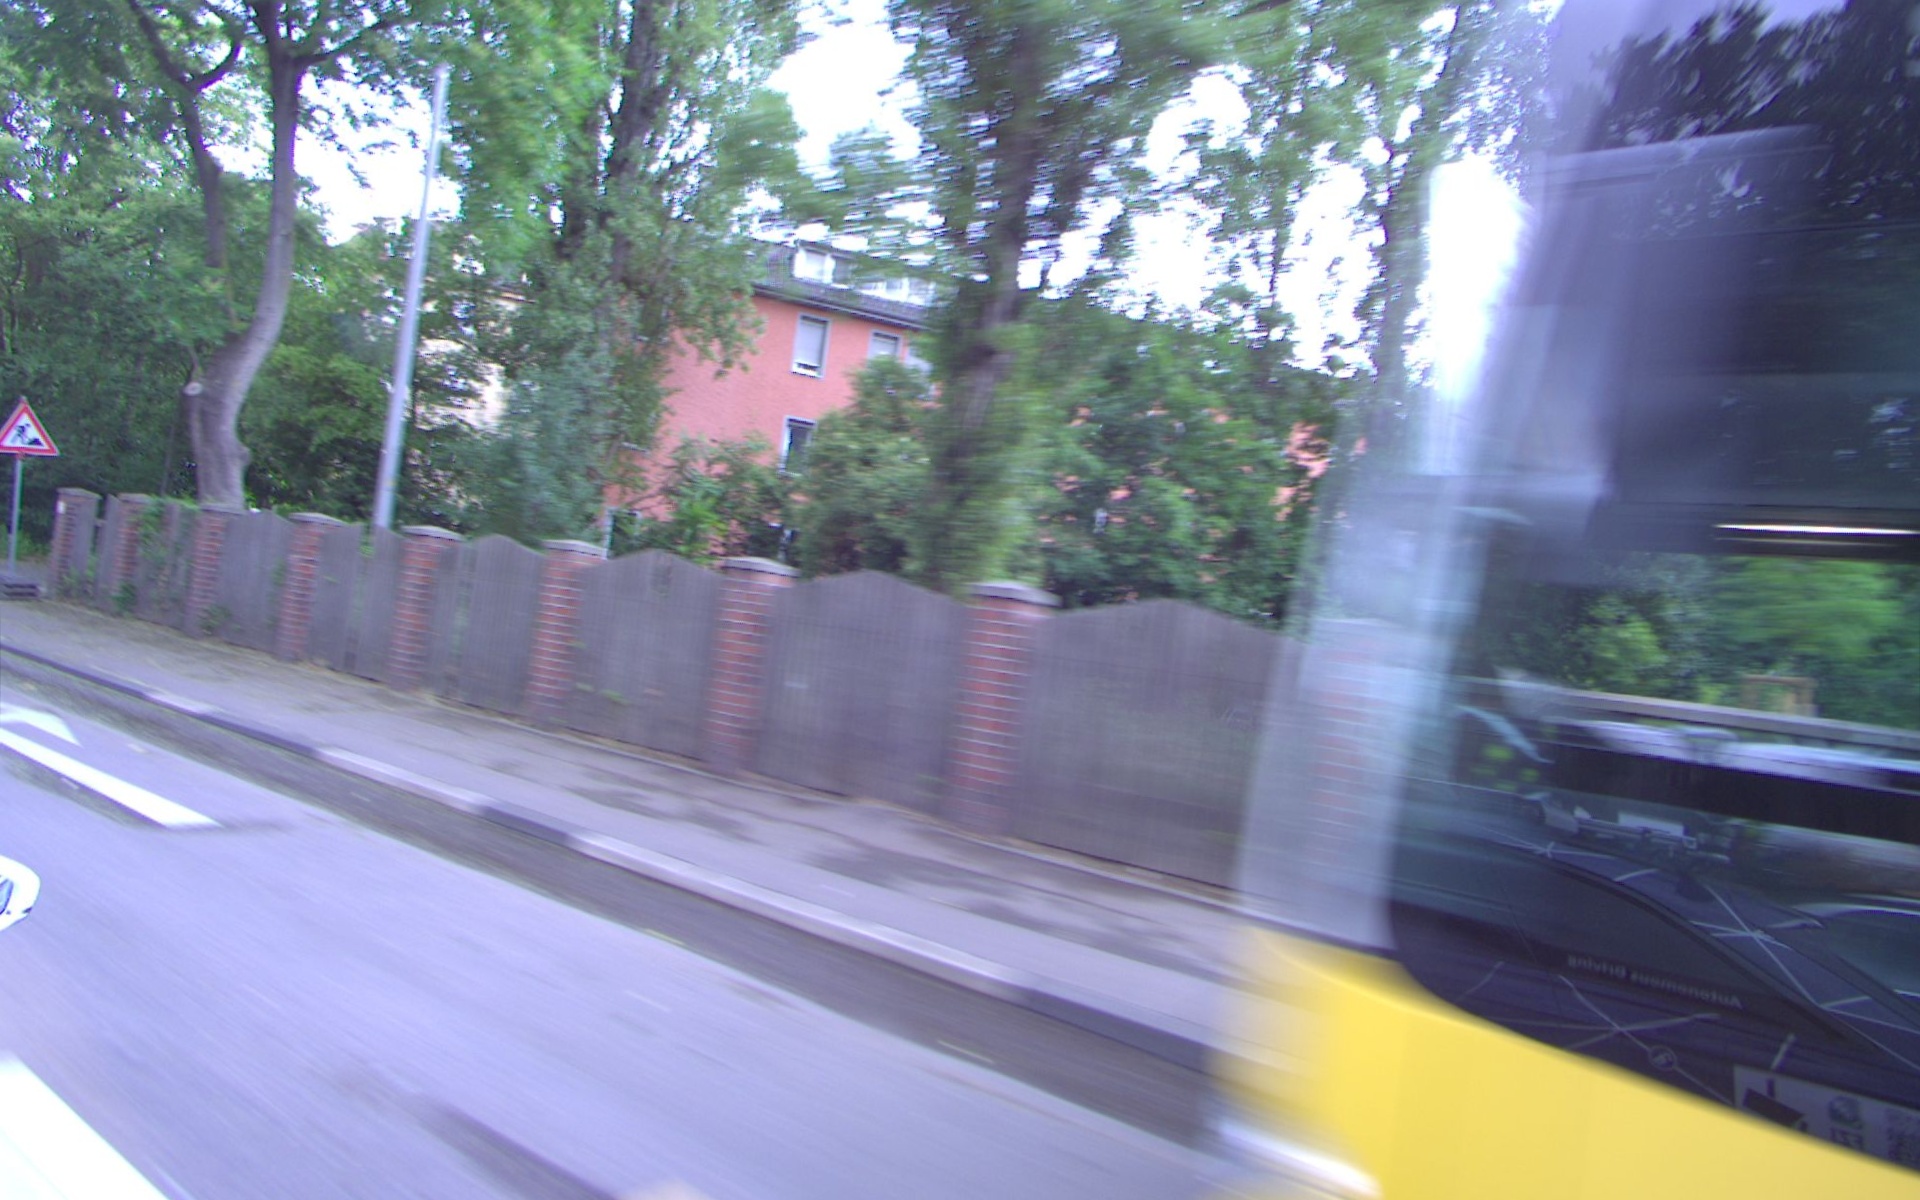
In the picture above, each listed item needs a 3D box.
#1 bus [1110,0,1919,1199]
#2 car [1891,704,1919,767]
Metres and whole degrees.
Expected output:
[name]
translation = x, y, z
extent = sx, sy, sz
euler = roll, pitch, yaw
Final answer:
[bus]
translation = 4.915, 0.687, 0.514
extent = 9.064, 3.170, 2.681
euler = 8, -4, 32
[car]
translation = 25.887, 3.559, 24.350
extent = 1.962, 1.607, 5.568
euler = 6, -3, 7
